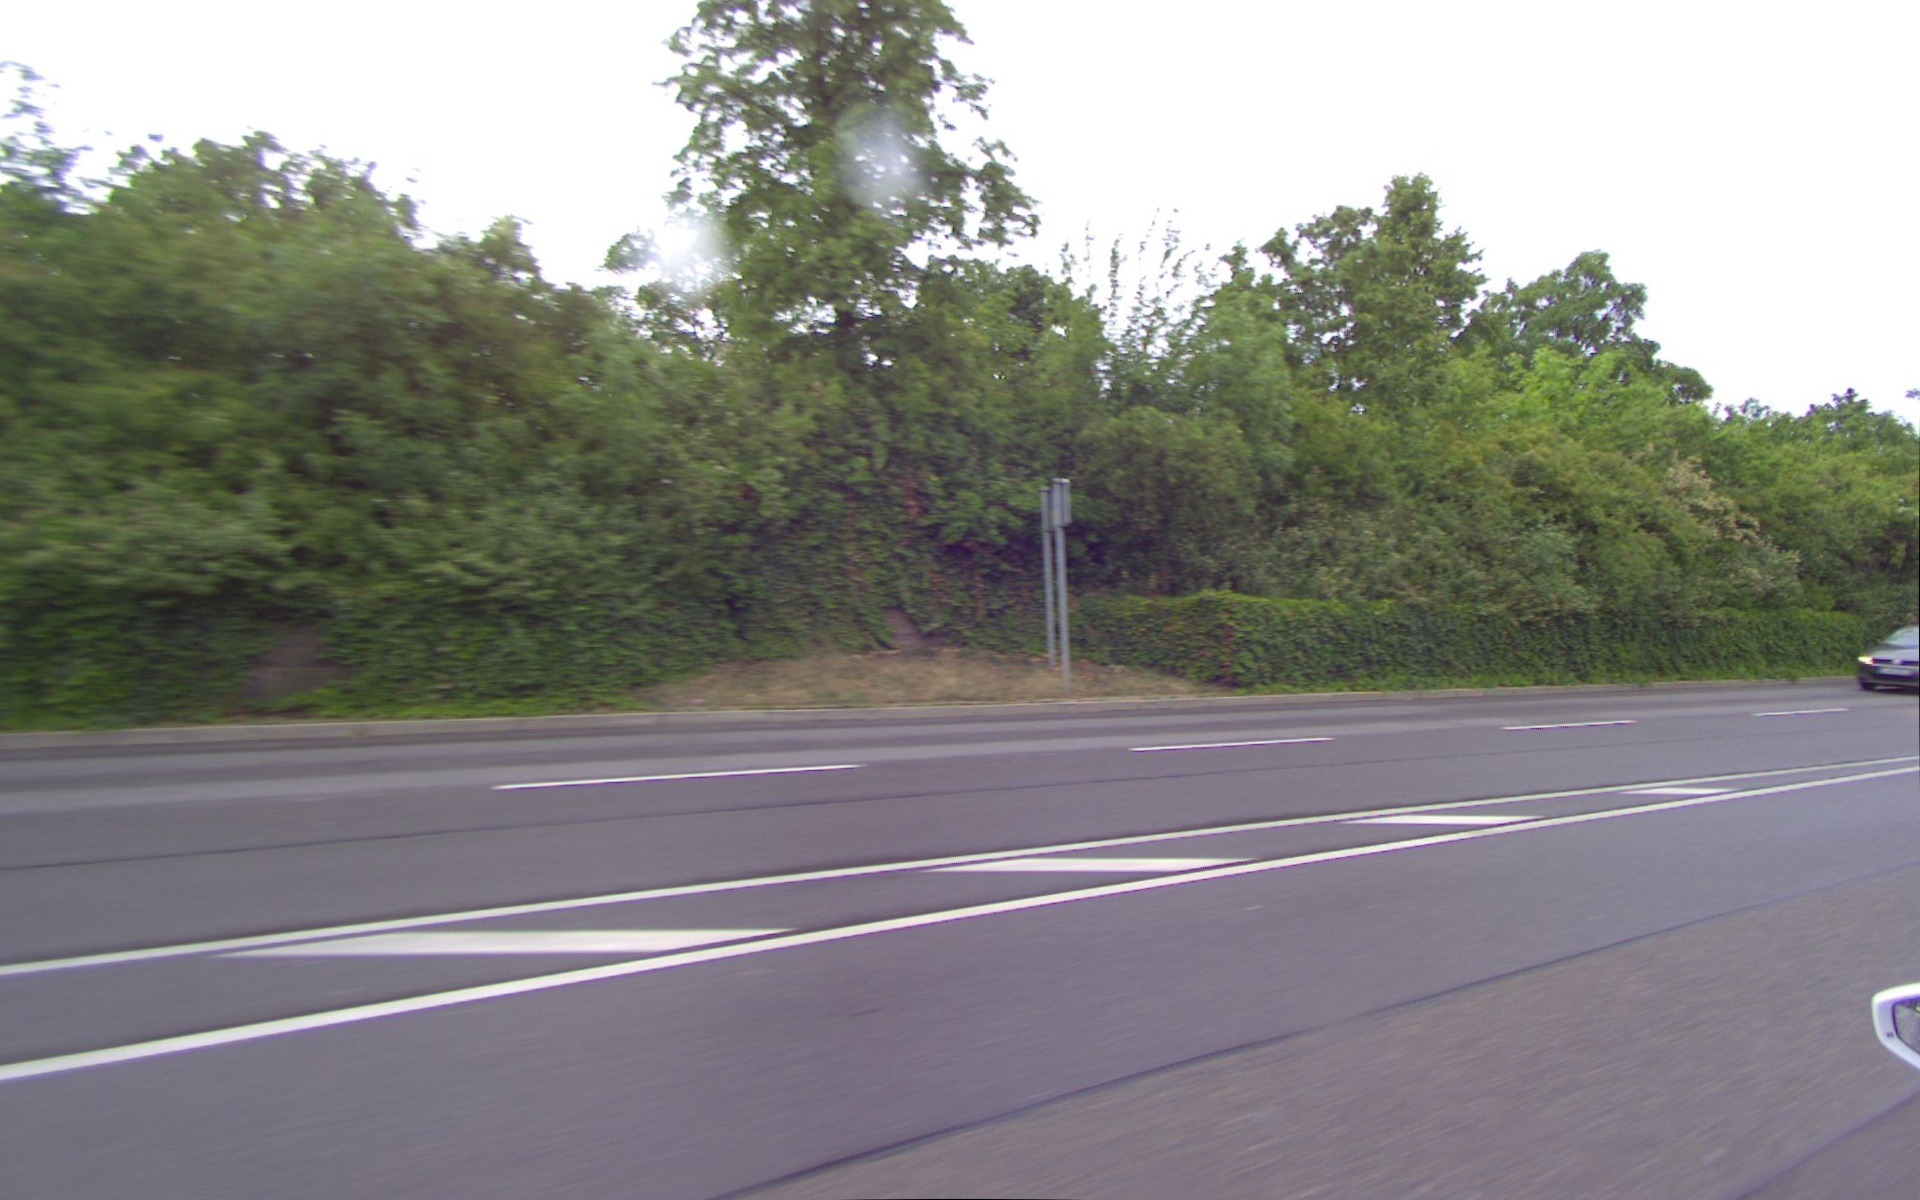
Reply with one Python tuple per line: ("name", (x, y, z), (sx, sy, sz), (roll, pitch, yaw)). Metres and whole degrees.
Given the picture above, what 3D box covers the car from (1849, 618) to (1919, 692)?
("car", (20.572, 1.156, 21.151), (3.648, 1.456, 1.543), (2, 0, -27))
